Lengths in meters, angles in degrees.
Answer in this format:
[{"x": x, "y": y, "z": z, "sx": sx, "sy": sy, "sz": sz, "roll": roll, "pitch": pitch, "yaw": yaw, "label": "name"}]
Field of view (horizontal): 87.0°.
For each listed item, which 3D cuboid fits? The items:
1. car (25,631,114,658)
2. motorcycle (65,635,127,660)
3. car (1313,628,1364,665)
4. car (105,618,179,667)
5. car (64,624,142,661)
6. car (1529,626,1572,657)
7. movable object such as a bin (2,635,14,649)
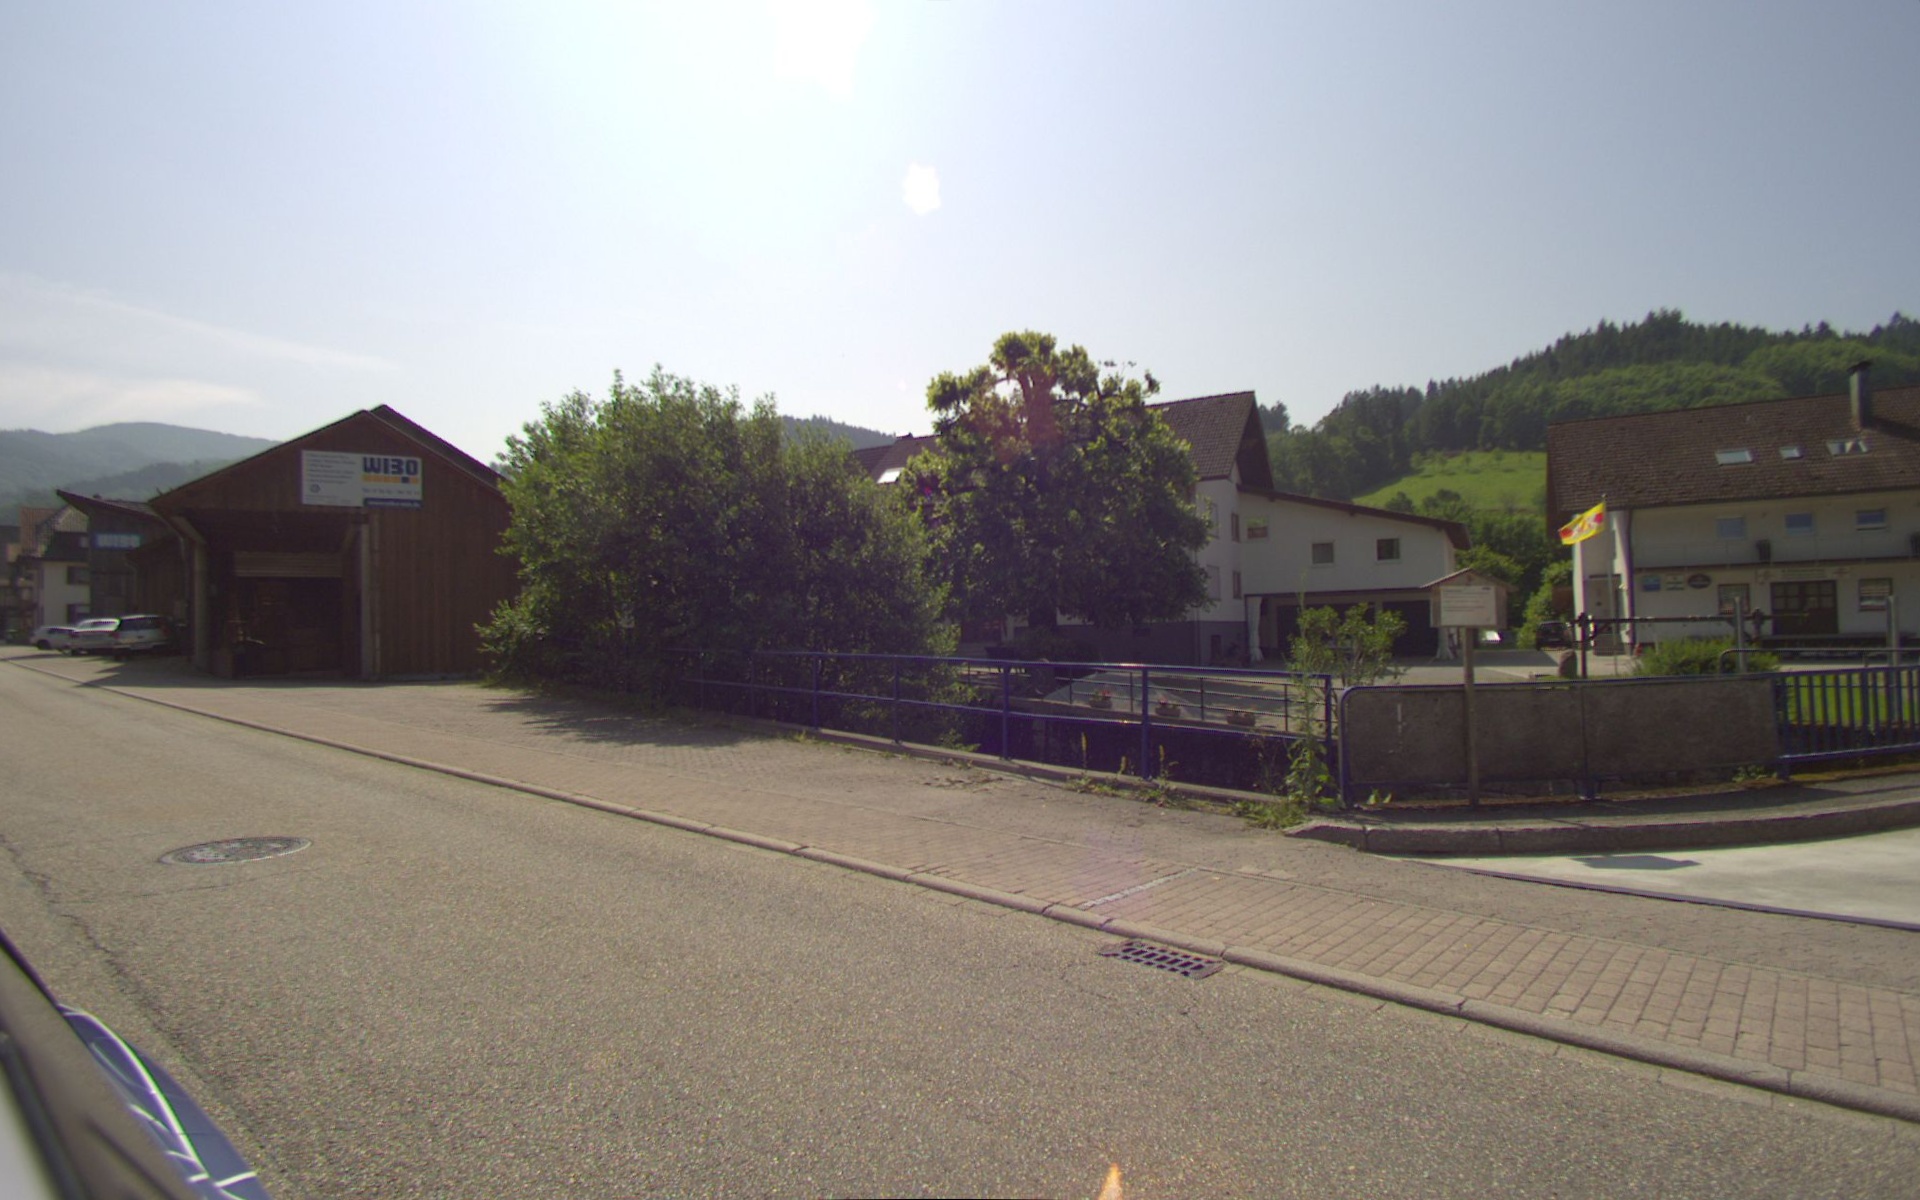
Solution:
[{"x": -53.207, "y": 2.669, "z": 60.567, "sx": 3.608, "sy": 1.396, "sz": 1.716, "roll": 5, "pitch": -4, "yaw": -29, "label": "car"}, {"x": -45.538, "y": 2.500, "z": 53.354, "sx": 2.376, "sy": 1.274, "sz": 0.745, "roll": 1, "pitch": -3, "yaw": -35, "label": "motorcycle"}, {"x": 18.696, "y": 2.247, "z": 49.904, "sx": 1.757, "sy": 1.689, "sz": 3.765, "roll": -1, "pitch": -1, "yaw": 29, "label": "car"}, {"x": -29.240, "y": 1.495, "z": 36.259, "sx": 1.559, "sy": 1.582, "sz": 4.034, "roll": -3, "pitch": 0, "yaw": -33, "label": "car"}, {"x": -35.891, "y": 1.795, "z": 42.495, "sx": 1.705, "sy": 1.465, "sz": 4.818, "roll": 0, "pitch": -2, "yaw": -31, "label": "car"}, {"x": 30.379, "y": 2.105, "z": 52.144, "sx": 1.610, "sy": 1.477, "sz": 3.285, "roll": -1, "pitch": -1, "yaw": 26, "label": "car"}, {"x": -77.363, "y": 3.426, "z": 82.280, "sx": 0.621, "sy": 1.075, "sz": 0.668, "roll": -2, "pitch": -2, "yaw": 44, "label": "movable object such as a bin"}]
